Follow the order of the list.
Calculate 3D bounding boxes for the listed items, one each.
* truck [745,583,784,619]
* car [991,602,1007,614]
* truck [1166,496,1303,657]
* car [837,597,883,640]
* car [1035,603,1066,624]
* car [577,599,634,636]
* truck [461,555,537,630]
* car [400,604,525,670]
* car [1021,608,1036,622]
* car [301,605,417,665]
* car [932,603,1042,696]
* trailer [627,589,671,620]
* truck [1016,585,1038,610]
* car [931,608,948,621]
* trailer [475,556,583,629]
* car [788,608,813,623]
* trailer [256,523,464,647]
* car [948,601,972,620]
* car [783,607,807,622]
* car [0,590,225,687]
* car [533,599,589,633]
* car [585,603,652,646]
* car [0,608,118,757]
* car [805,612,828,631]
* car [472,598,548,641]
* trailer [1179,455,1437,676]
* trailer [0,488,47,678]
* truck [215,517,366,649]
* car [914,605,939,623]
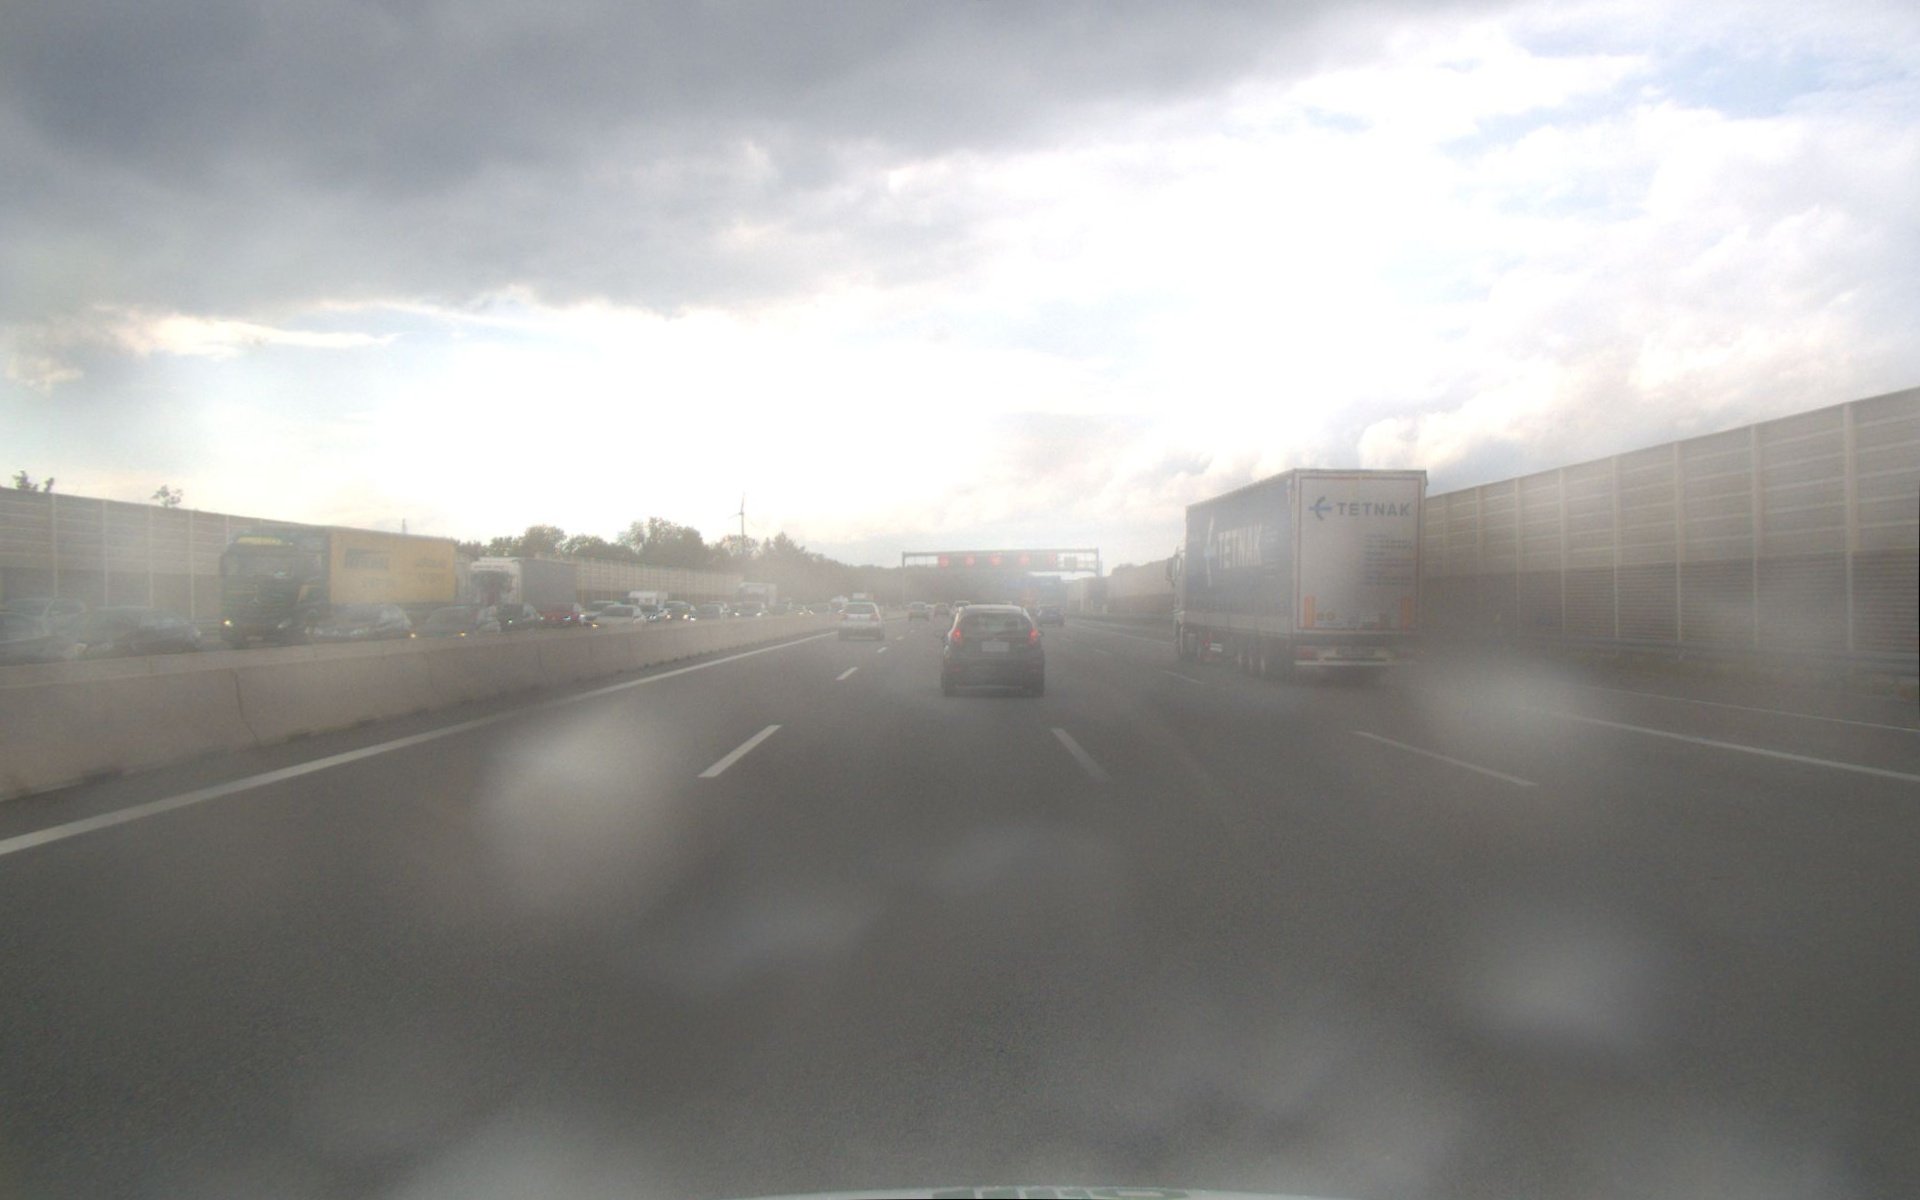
[{"bbox_3d":[-20.765,0.116,176.377,2.640,3.589,9.997,1,0,1],"label":"truck"},{"bbox_3d":[5.304,1.043,223.225,1.926,1.588,4.435,0,0,4],"label":"car"},{"bbox_3d":[7.336,-0.586,44.924,2.689,4.105,5.725,0,0,-1],"label":"truck"},{"bbox_3d":[-3.958,0.718,66.189,1.682,1.652,4.277,0,0,-2],"label":"car"},{"bbox_3d":[6.360,0.984,116.796,1.910,1.443,4.231,0,-1,-1],"label":"car"},{"bbox_3d":[-18.368,0.897,85.868,2.019,1.848,4.777,0,0,-1],"label":"car"},{"bbox_3d":[-26.300,-0.402,94.560,2.688,4.105,5.726,0,0,0],"label":"truck"},{"bbox_3d":[-14.374,1.028,48.181,2.019,1.786,5.806,0,0,-1],"label":"car"},{"bbox_3d":[8.321,1.810,200.397,1.843,1.588,4.434,-1,-1,2],"label":"car"},{"bbox_3d":[-18.314,1.033,50.590,2.019,1.729,4.409,0,0,-2],"label":"car"},{"bbox_3d":[0.393,0.781,27.995,1.682,1.442,4.277,0,0,-2],"label":"car"},{"bbox_3d":[-25.810,0.332,137.367,2.408,2.539,6.085,0,0,0],"label":"trailer"},{"bbox_3d":[10.224,-0.414,251.969,3.087,3.665,12.702,1,0,2],"label":"truck"},{"bbox_3d":[-2.544,1.891,209.612,1.927,1.588,4.434,-1,-1,2],"label":"car"},{"bbox_3d":[-26.204,-0.397,101.518,2.704,4.102,14.453,0,0,1],"label":"trailer"},{"bbox_3d":[-17.092,1.661,177.255,2.017,1.517,4.998,0,-1,2],"label":"car"},{"bbox_3d":[-22.035,-0.478,61.986,2.705,4.102,14.450,0,0,-1],"label":"trailer"},{"bbox_3d":[-0.006,0.942,147.904,1.927,1.588,4.434,-1,-1,2],"label":"car"},{"bbox_3d":[-17.719,1.547,177.368,2.018,1.628,4.997,0,-1,0],"label":"car"},{"bbox_3d":[-18.092,0.756,35.652,2.019,1.925,5.806,0,0,-1],"label":"car"},{"bbox_3d":[-22.052,0.846,91.582,2.019,1.848,4.777,0,0,-1],"label":"car"},{"bbox_3d":[-14.348,0.995,69.724,2.019,1.729,4.409,0,0,-2],"label":"car"},{"bbox_3d":[-14.249,1.150,23.202,2.019,2.037,5.806,0,0,-1],"label":"car"},{"bbox_3d":[-13.738,2.037,158.430,1.835,1.729,4.221,0,0,-1],"label":"car"},{"bbox_3d":[-18.654,0.795,68.720,2.019,1.729,4.409,0,0,-2],"label":"car"},{"bbox_3d":[7.428,-0.616,37.940,2.705,4.102,14.450,0,0,-1],"label":"trailer"},{"bbox_3d":[-21.758,-0.351,31.732,2.871,4.008,10.119,0,0,0],"label":"trailer"},{"bbox_3d":[-21.955,-0.519,54.581,2.689,4.105,5.725,0,0,-1],"label":"truck"},{"bbox_3d":[-3.038,1.258,150.398,1.927,1.588,4.434,-1,-1,2],"label":"car"}]
